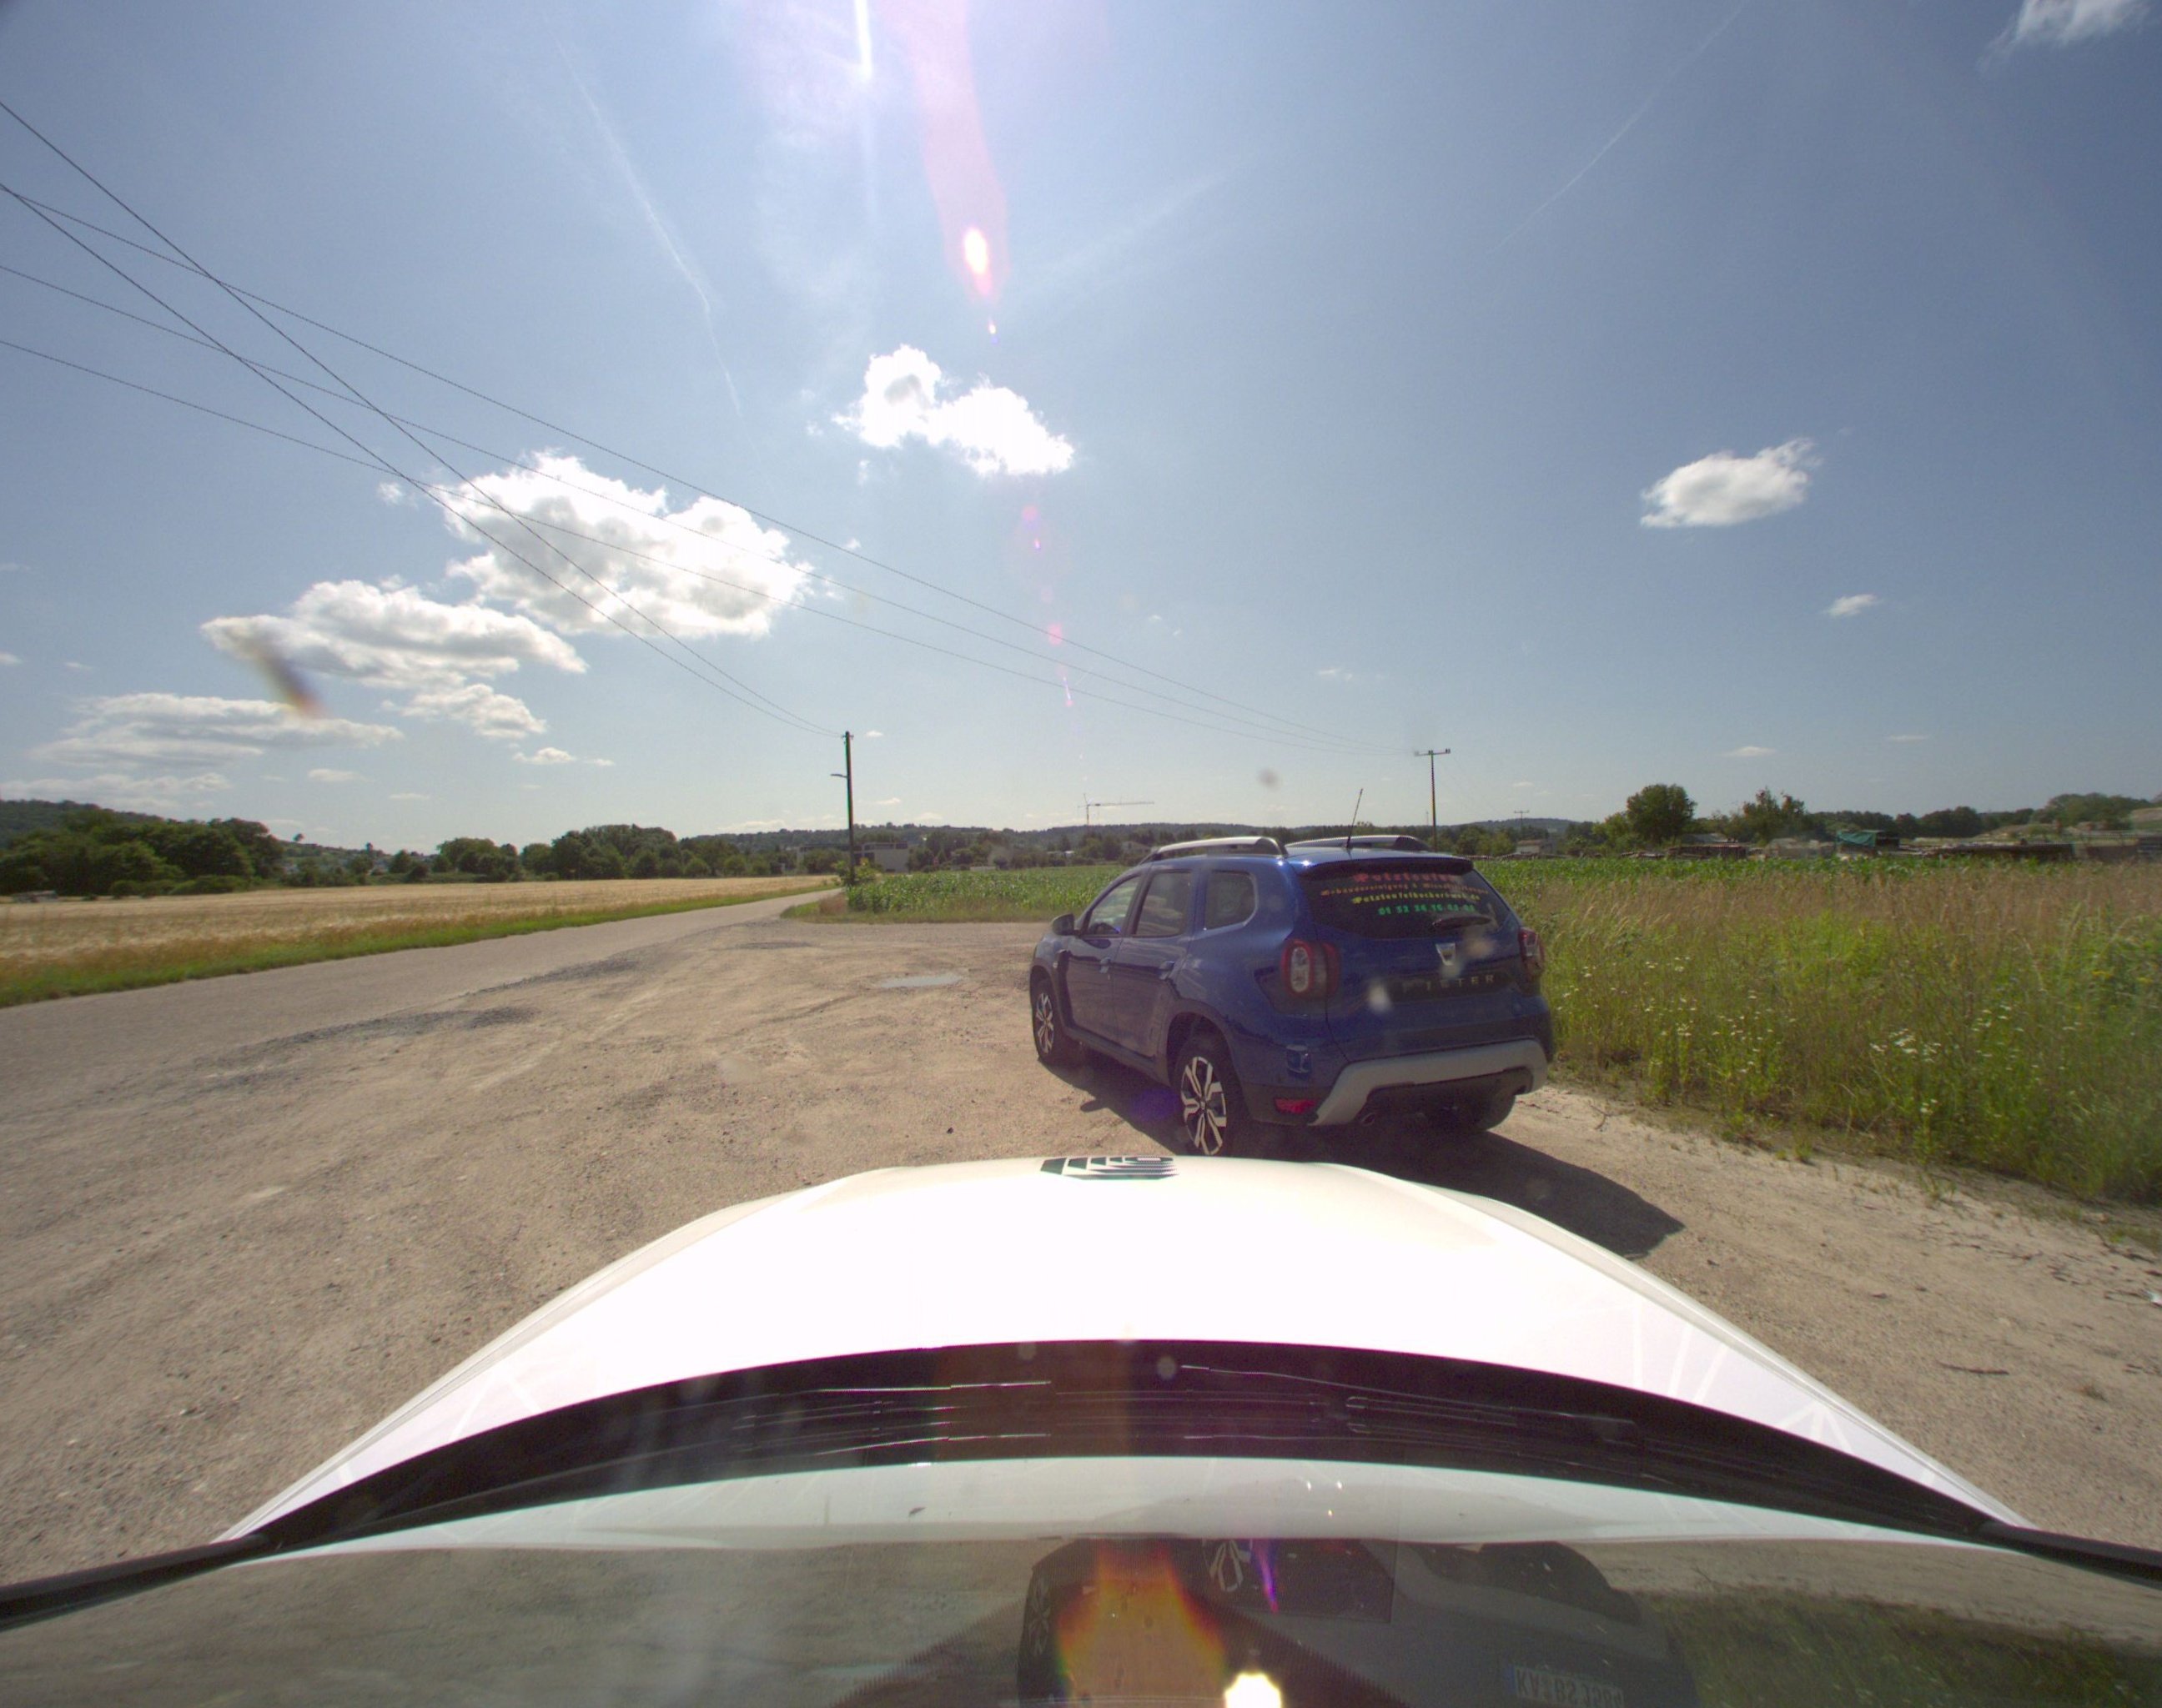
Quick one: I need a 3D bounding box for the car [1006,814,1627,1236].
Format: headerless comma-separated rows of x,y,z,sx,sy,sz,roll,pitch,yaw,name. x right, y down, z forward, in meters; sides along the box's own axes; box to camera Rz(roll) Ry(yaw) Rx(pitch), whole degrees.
0.950,0.739,5.638,1.865,1.661,4.428,-1,-2,-20,car
